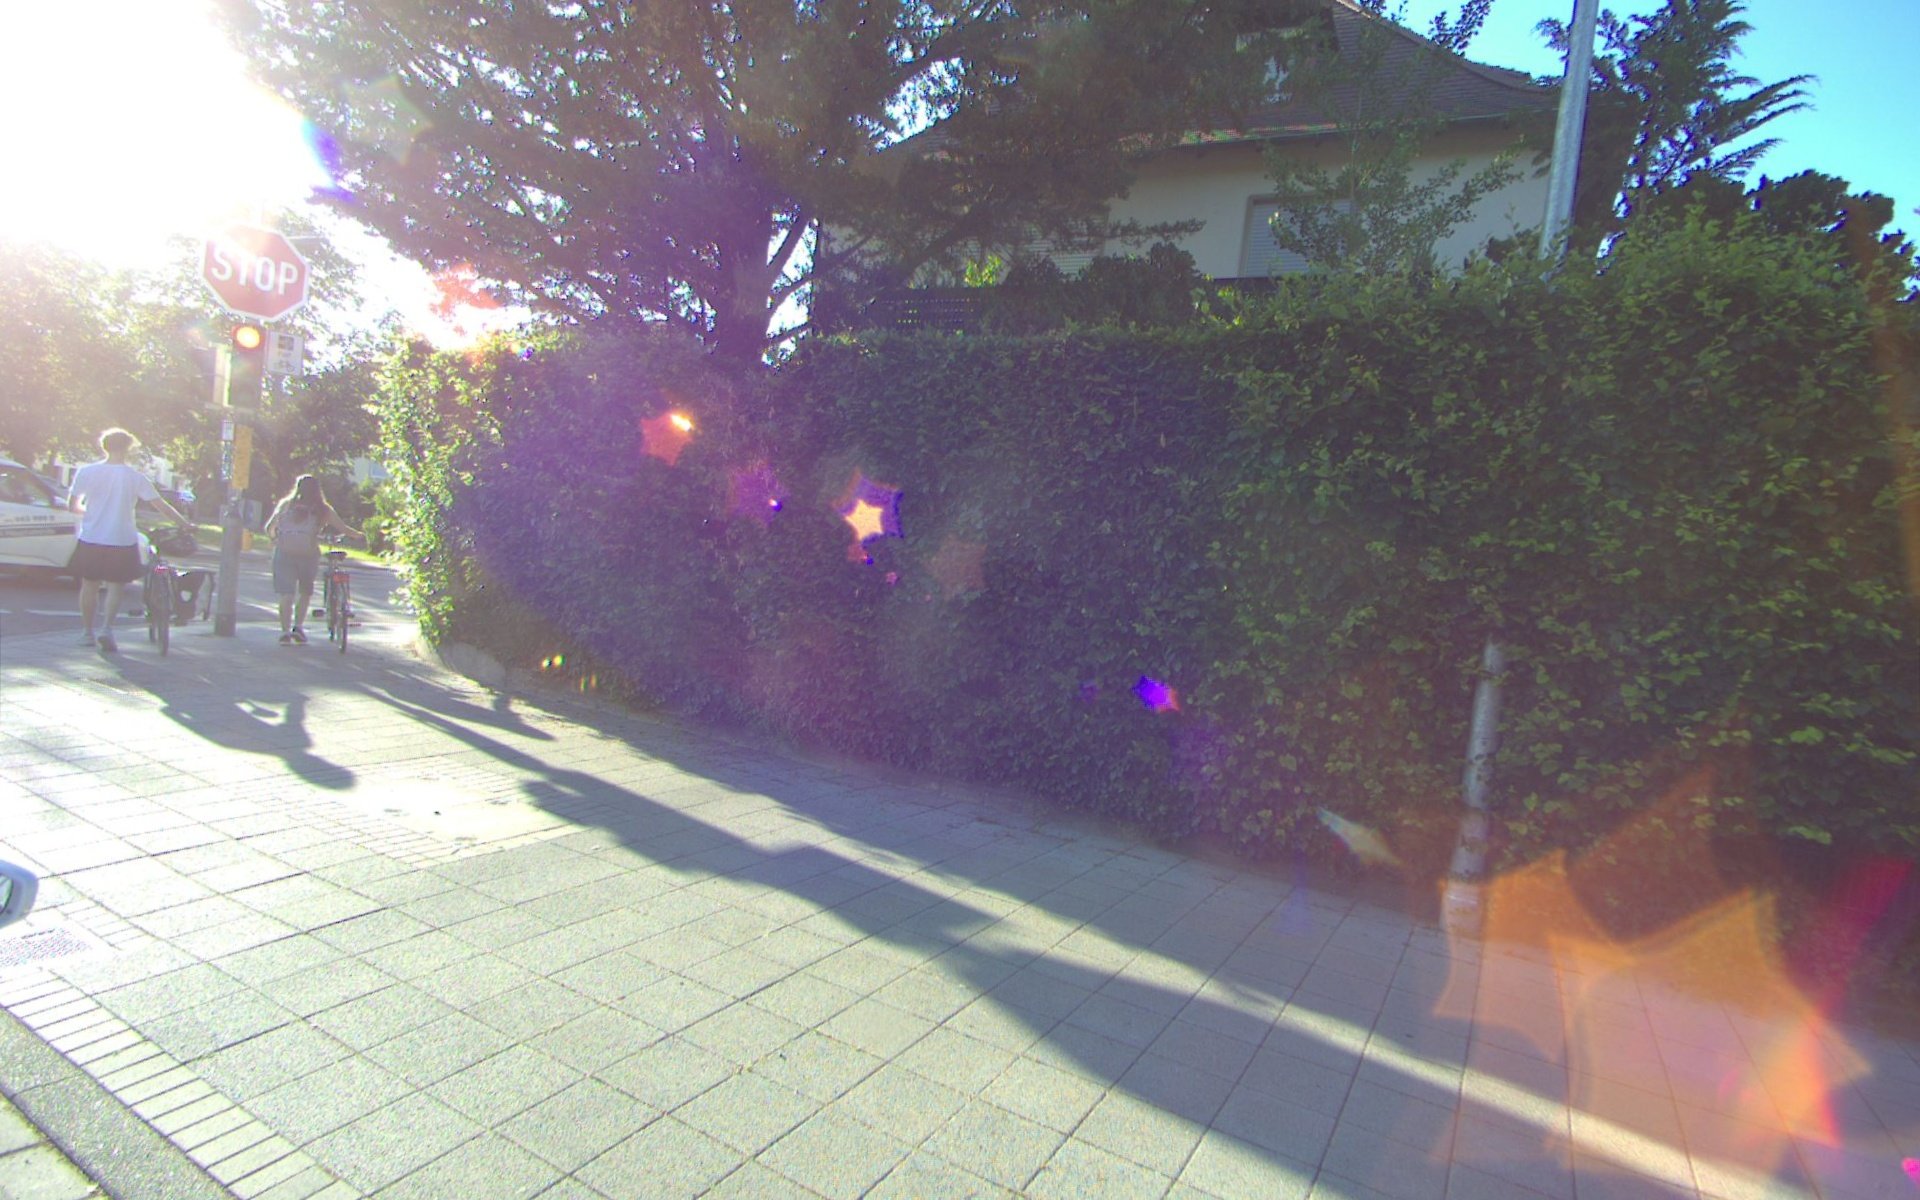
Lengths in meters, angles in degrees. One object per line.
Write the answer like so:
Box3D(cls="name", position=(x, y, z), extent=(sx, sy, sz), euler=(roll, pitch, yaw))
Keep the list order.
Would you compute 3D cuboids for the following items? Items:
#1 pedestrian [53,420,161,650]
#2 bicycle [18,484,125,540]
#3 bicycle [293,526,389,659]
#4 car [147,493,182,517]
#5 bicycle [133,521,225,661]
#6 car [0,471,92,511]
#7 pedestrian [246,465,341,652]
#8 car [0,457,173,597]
Box3D(cls="pedestrian", position=(-7.463, -0.547, 8.810), extent=(0.666, 1.891, 0.871), euler=(1, 3, -41))
Box3D(cls="bicycle", position=(-23.217, -2.287, 26.330), extent=(0.609, 1.146, 1.956), euler=(8, 1, 32))
Box3D(cls="bicycle", position=(-6.160, -0.100, 9.982), extent=(0.484, 1.158, 1.578), euler=(3, 4, -42))
Box3D(cls="car", position=(-55.226, -6.583, 69.869), extent=(1.654, 1.435, 3.507), euler=(7, 0, -36))
Box3D(cls="bicycle", position=(-7.041, -0.112, 9.039), extent=(0.485, 1.112, 1.769), euler=(2, 3, -43))
Box3D(cls="car", position=(-46.403, -5.500, 50.560), extent=(1.569, 1.445, 3.854), euler=(7, 0, 26))
Box3D(cls="pedestrian", position=(-6.489, -0.397, 9.787), extent=(0.665, 1.733, 0.615), euler=(2, 6, -40))
Box3D(cls="car", position=(-12.174, -0.995, 12.146), extent=(1.582, 1.571, 3.876), euler=(9, 1, 18))
